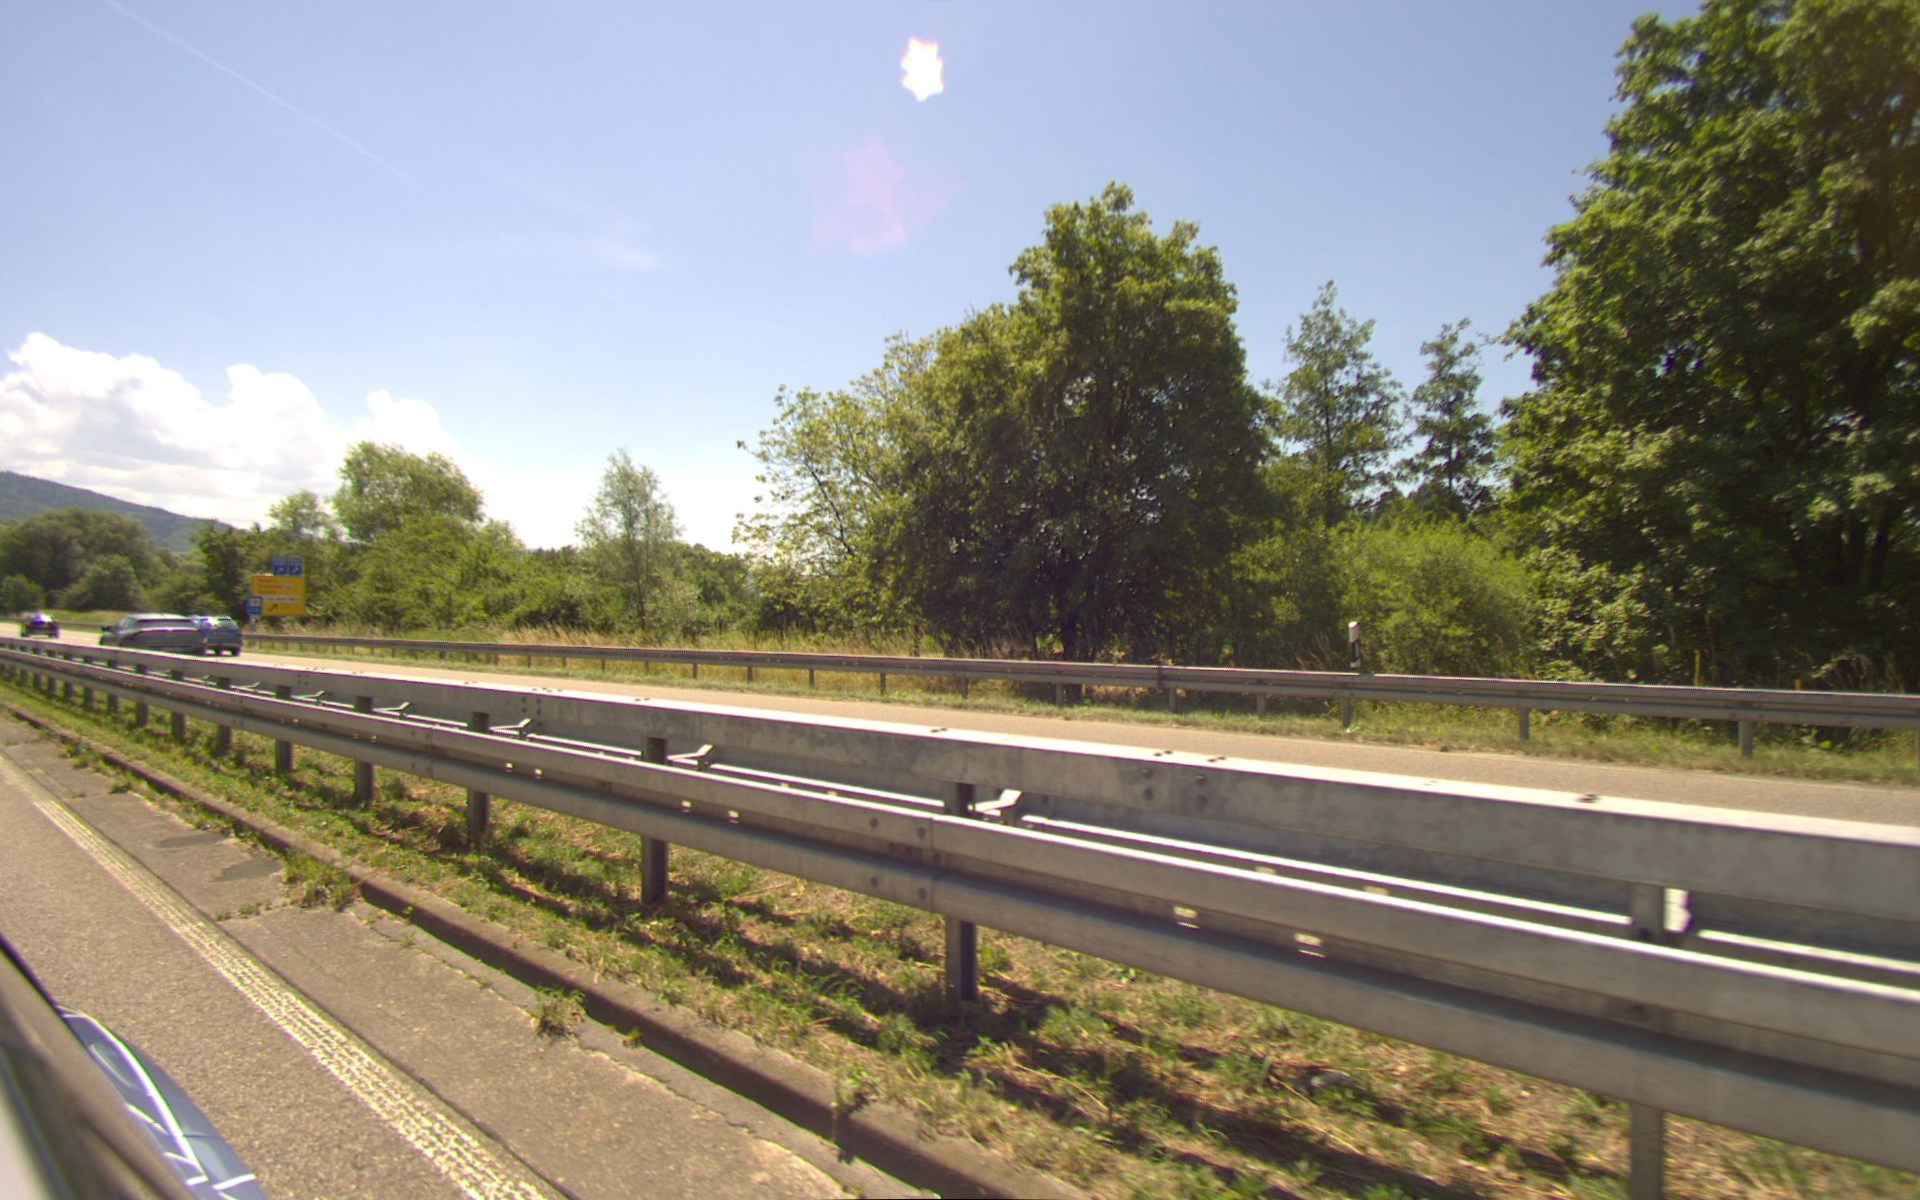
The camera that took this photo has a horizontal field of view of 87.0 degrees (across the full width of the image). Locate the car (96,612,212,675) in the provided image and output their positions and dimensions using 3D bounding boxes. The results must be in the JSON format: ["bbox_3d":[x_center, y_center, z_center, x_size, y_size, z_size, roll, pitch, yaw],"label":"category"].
[{"bbox_3d":[-22.909,1.195,28.704,4.553,1.644,1.971,-1,-2,44],"label":"car"}]

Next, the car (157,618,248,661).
[{"bbox_3d":[-29.369,1.481,39.179,4.925,1.555,1.793,-1,-2,41],"label":"car"}]

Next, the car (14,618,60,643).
[{"bbox_3d":[-63.645,2.109,69.764,4.503,1.632,1.761,-1,-2,41],"label":"car"}]
